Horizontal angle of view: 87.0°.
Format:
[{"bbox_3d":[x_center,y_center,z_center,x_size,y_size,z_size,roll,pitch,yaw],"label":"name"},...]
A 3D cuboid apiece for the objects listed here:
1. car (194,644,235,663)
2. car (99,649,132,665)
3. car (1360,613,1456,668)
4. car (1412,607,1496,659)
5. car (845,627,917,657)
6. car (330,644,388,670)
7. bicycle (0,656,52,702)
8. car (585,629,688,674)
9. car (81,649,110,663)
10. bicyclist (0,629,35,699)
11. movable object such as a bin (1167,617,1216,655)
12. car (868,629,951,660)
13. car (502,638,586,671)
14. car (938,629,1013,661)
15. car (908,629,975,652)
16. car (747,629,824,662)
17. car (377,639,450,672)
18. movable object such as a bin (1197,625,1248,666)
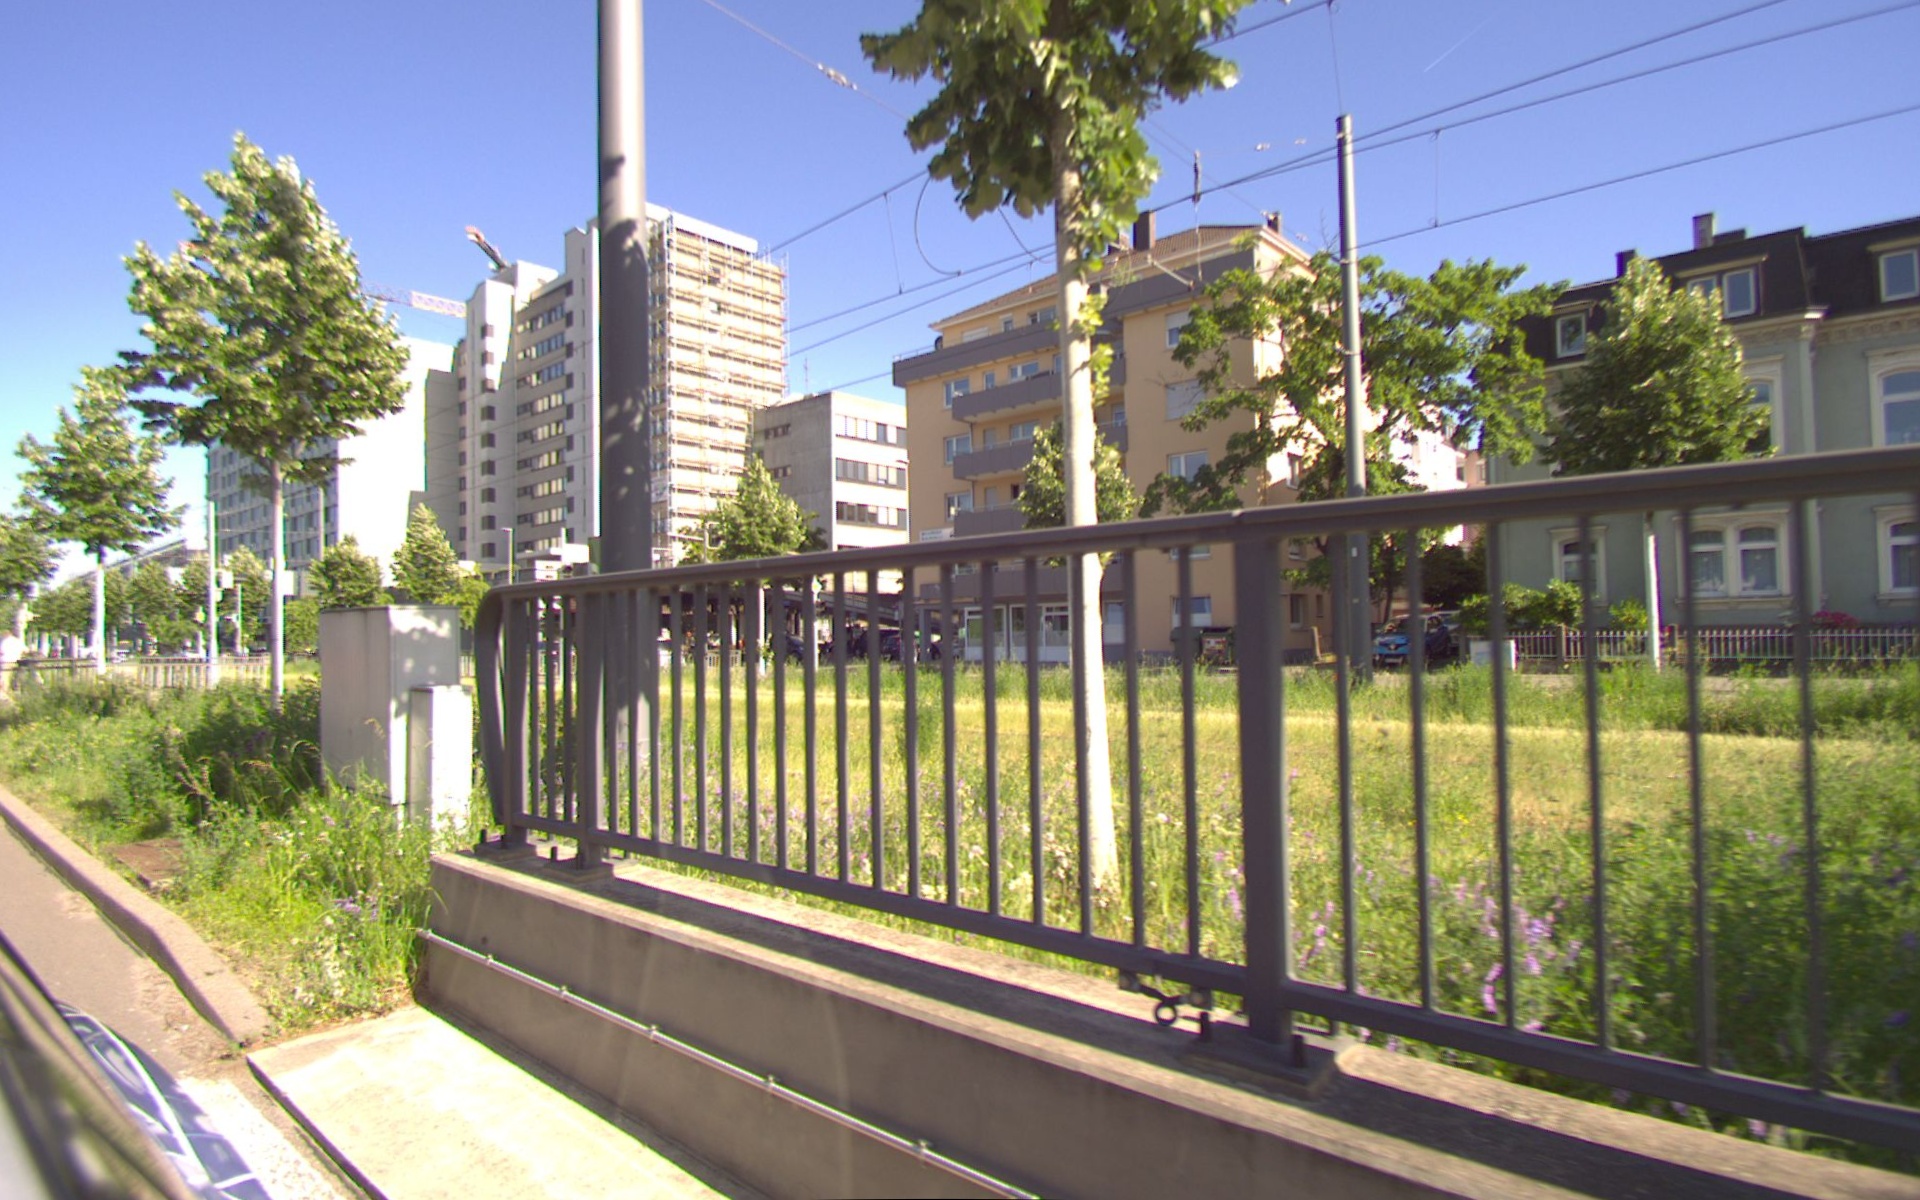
[{"bbox_3d":[-64.880,4.675,88.043,4.591,1.582,1.890,-3,-2,40],"label":"car"},{"bbox_3d":[-88.873,6.005,106.519,4.591,1.582,1.890,-3,-2,40],"label":"car"},{"bbox_3d":[15.062,1.329,33.917,1.913,1.740,3.947,-3,-2,39],"label":"car"},{"bbox_3d":[18.464,1.209,37.745,1.913,1.806,3.947,-3,-2,39],"label":"car"},{"bbox_3d":[-5.335,2.838,68.237,4.643,1.934,1.991,-2,-2,34],"label":"car"},{"bbox_3d":[-39.547,3.726,66.547,4.652,1.582,1.890,-3,-2,40],"label":"car"},{"bbox_3d":[-23.579,1.937,24.933,1.959,1.064,0.723,0,0,7],"label":"bicycle"},{"bbox_3d":[-12.429,1.981,38.829,3.991,1.614,1.725,-3,-2,35],"label":"car"},{"bbox_3d":[-102.869,6.715,120.428,4.591,1.582,1.890,-3,-2,40],"label":"car"},{"bbox_3d":[-23.591,1.575,24.936,0.810,1.699,0.857,-1,-2,7],"label":"bicyclist"},{"bbox_3d":[8.710,1.349,38.027,1.326,1.381,1.250,-3,-2,41],"label":"movable object such as a bin"},{"bbox_3d":[-2.769,2.448,56.326,2.013,1.605,4.592,-3,-2,41],"label":"car"},{"bbox_3d":[-20.327,2.639,49.381,4.652,1.514,1.890,-3,-2,40],"label":"car"},{"bbox_3d":[0.983,2.658,60.758,2.013,1.793,4.592,-3,-2,41],"label":"car"},{"bbox_3d":[-1.379,2.989,74.434,4.643,1.629,1.991,-2,-2,34],"label":"car"},{"bbox_3d":[-10.844,2.841,62.835,4.643,1.934,1.991,-2,-2,34],"label":"car"},{"bbox_3d":[-29.176,2.956,53.964,4.652,1.609,1.890,-3,-2,40],"label":"car"},{"bbox_3d":[9.562,1.640,36.901,1.327,1.410,1.249,-2,-1,45],"label":"movable object such as a bin"}]
